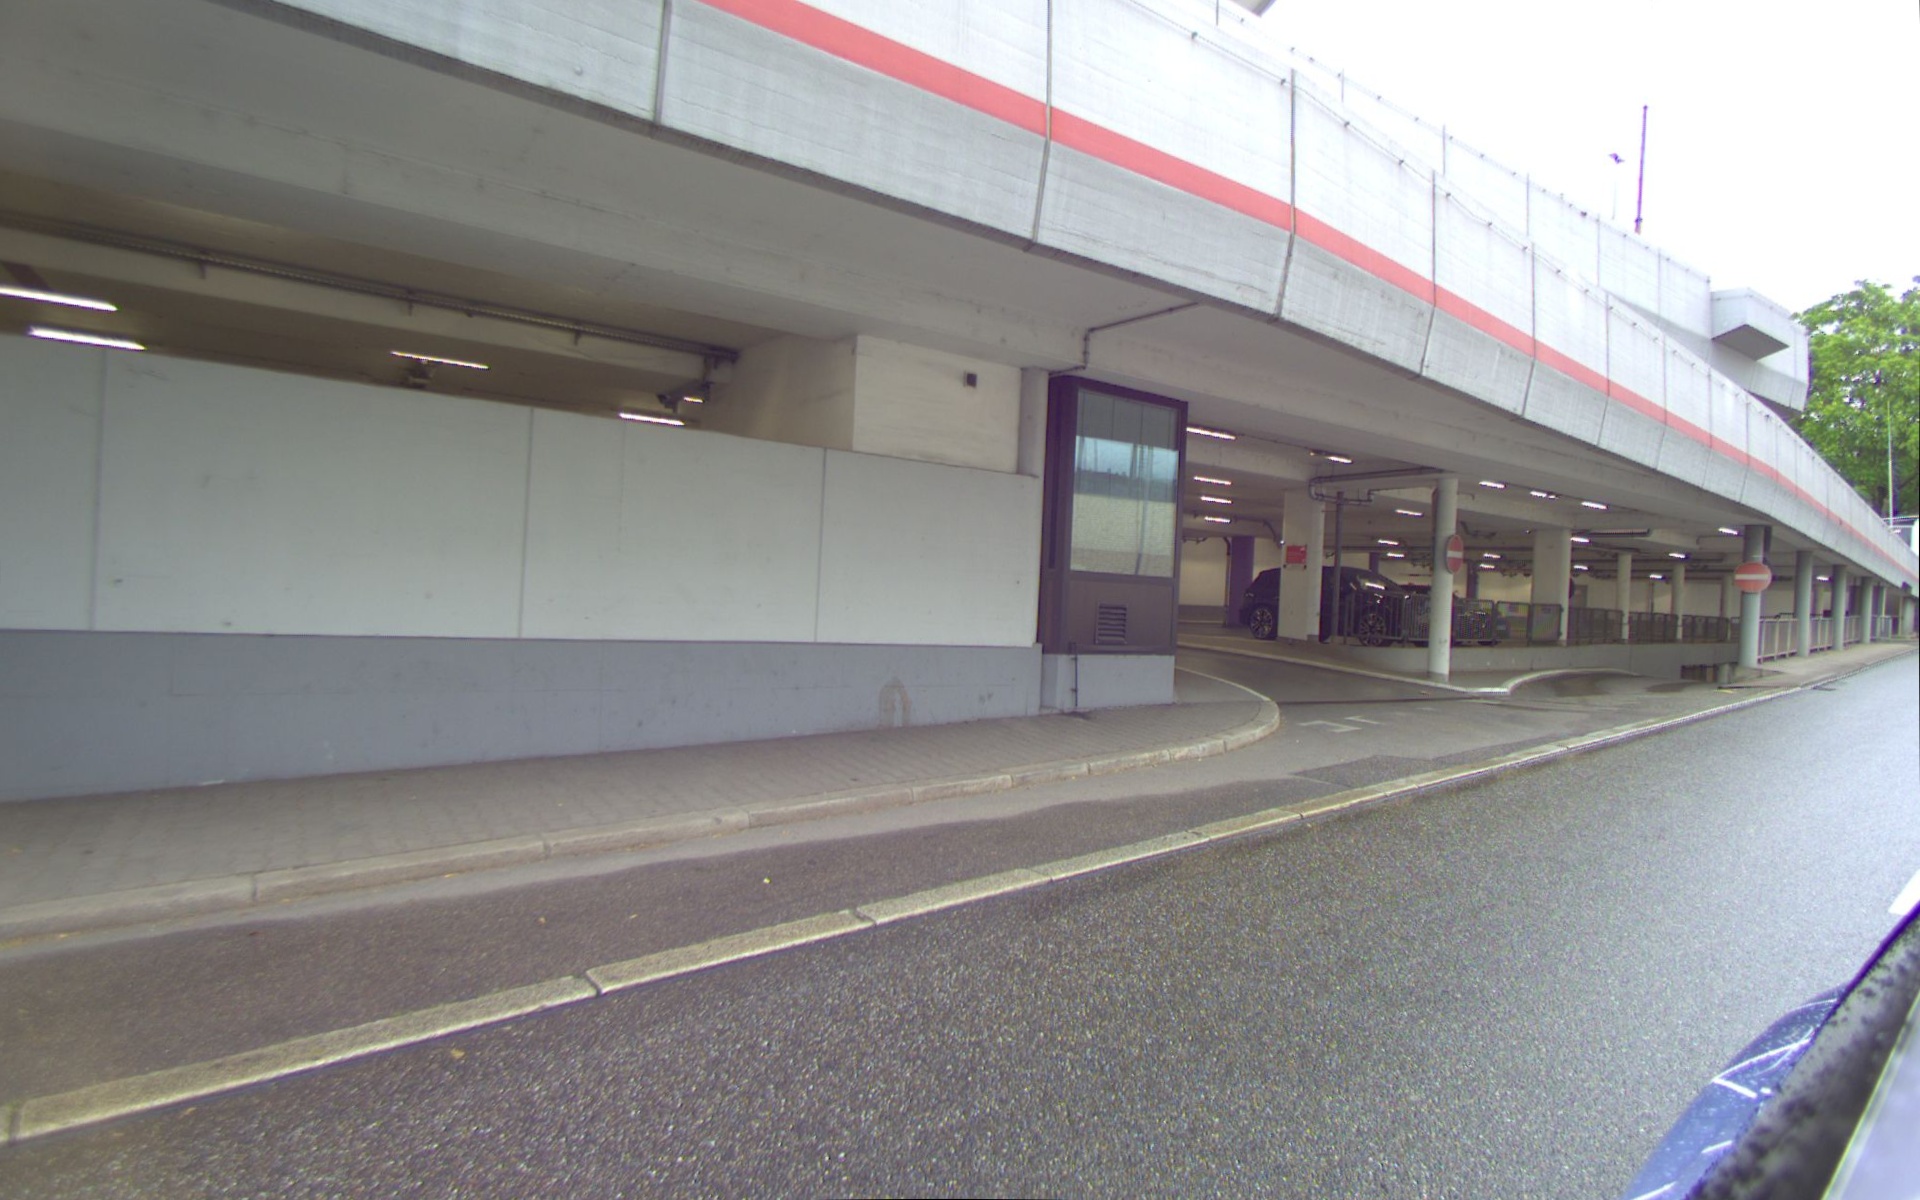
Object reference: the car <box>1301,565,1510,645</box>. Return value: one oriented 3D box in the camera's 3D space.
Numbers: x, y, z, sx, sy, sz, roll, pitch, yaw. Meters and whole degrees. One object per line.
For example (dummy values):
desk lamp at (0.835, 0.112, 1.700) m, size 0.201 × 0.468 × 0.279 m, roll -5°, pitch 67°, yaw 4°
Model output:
car at (10.756, 0.091, 24.747) m, size 1.960 × 1.682 × 4.261 m, roll 5°, pitch -2°, yaw -31°

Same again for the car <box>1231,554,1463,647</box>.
car at (8.157, -0.017, 21.706) m, size 1.960 × 1.682 × 4.261 m, roll 5°, pitch -2°, yaw -31°
